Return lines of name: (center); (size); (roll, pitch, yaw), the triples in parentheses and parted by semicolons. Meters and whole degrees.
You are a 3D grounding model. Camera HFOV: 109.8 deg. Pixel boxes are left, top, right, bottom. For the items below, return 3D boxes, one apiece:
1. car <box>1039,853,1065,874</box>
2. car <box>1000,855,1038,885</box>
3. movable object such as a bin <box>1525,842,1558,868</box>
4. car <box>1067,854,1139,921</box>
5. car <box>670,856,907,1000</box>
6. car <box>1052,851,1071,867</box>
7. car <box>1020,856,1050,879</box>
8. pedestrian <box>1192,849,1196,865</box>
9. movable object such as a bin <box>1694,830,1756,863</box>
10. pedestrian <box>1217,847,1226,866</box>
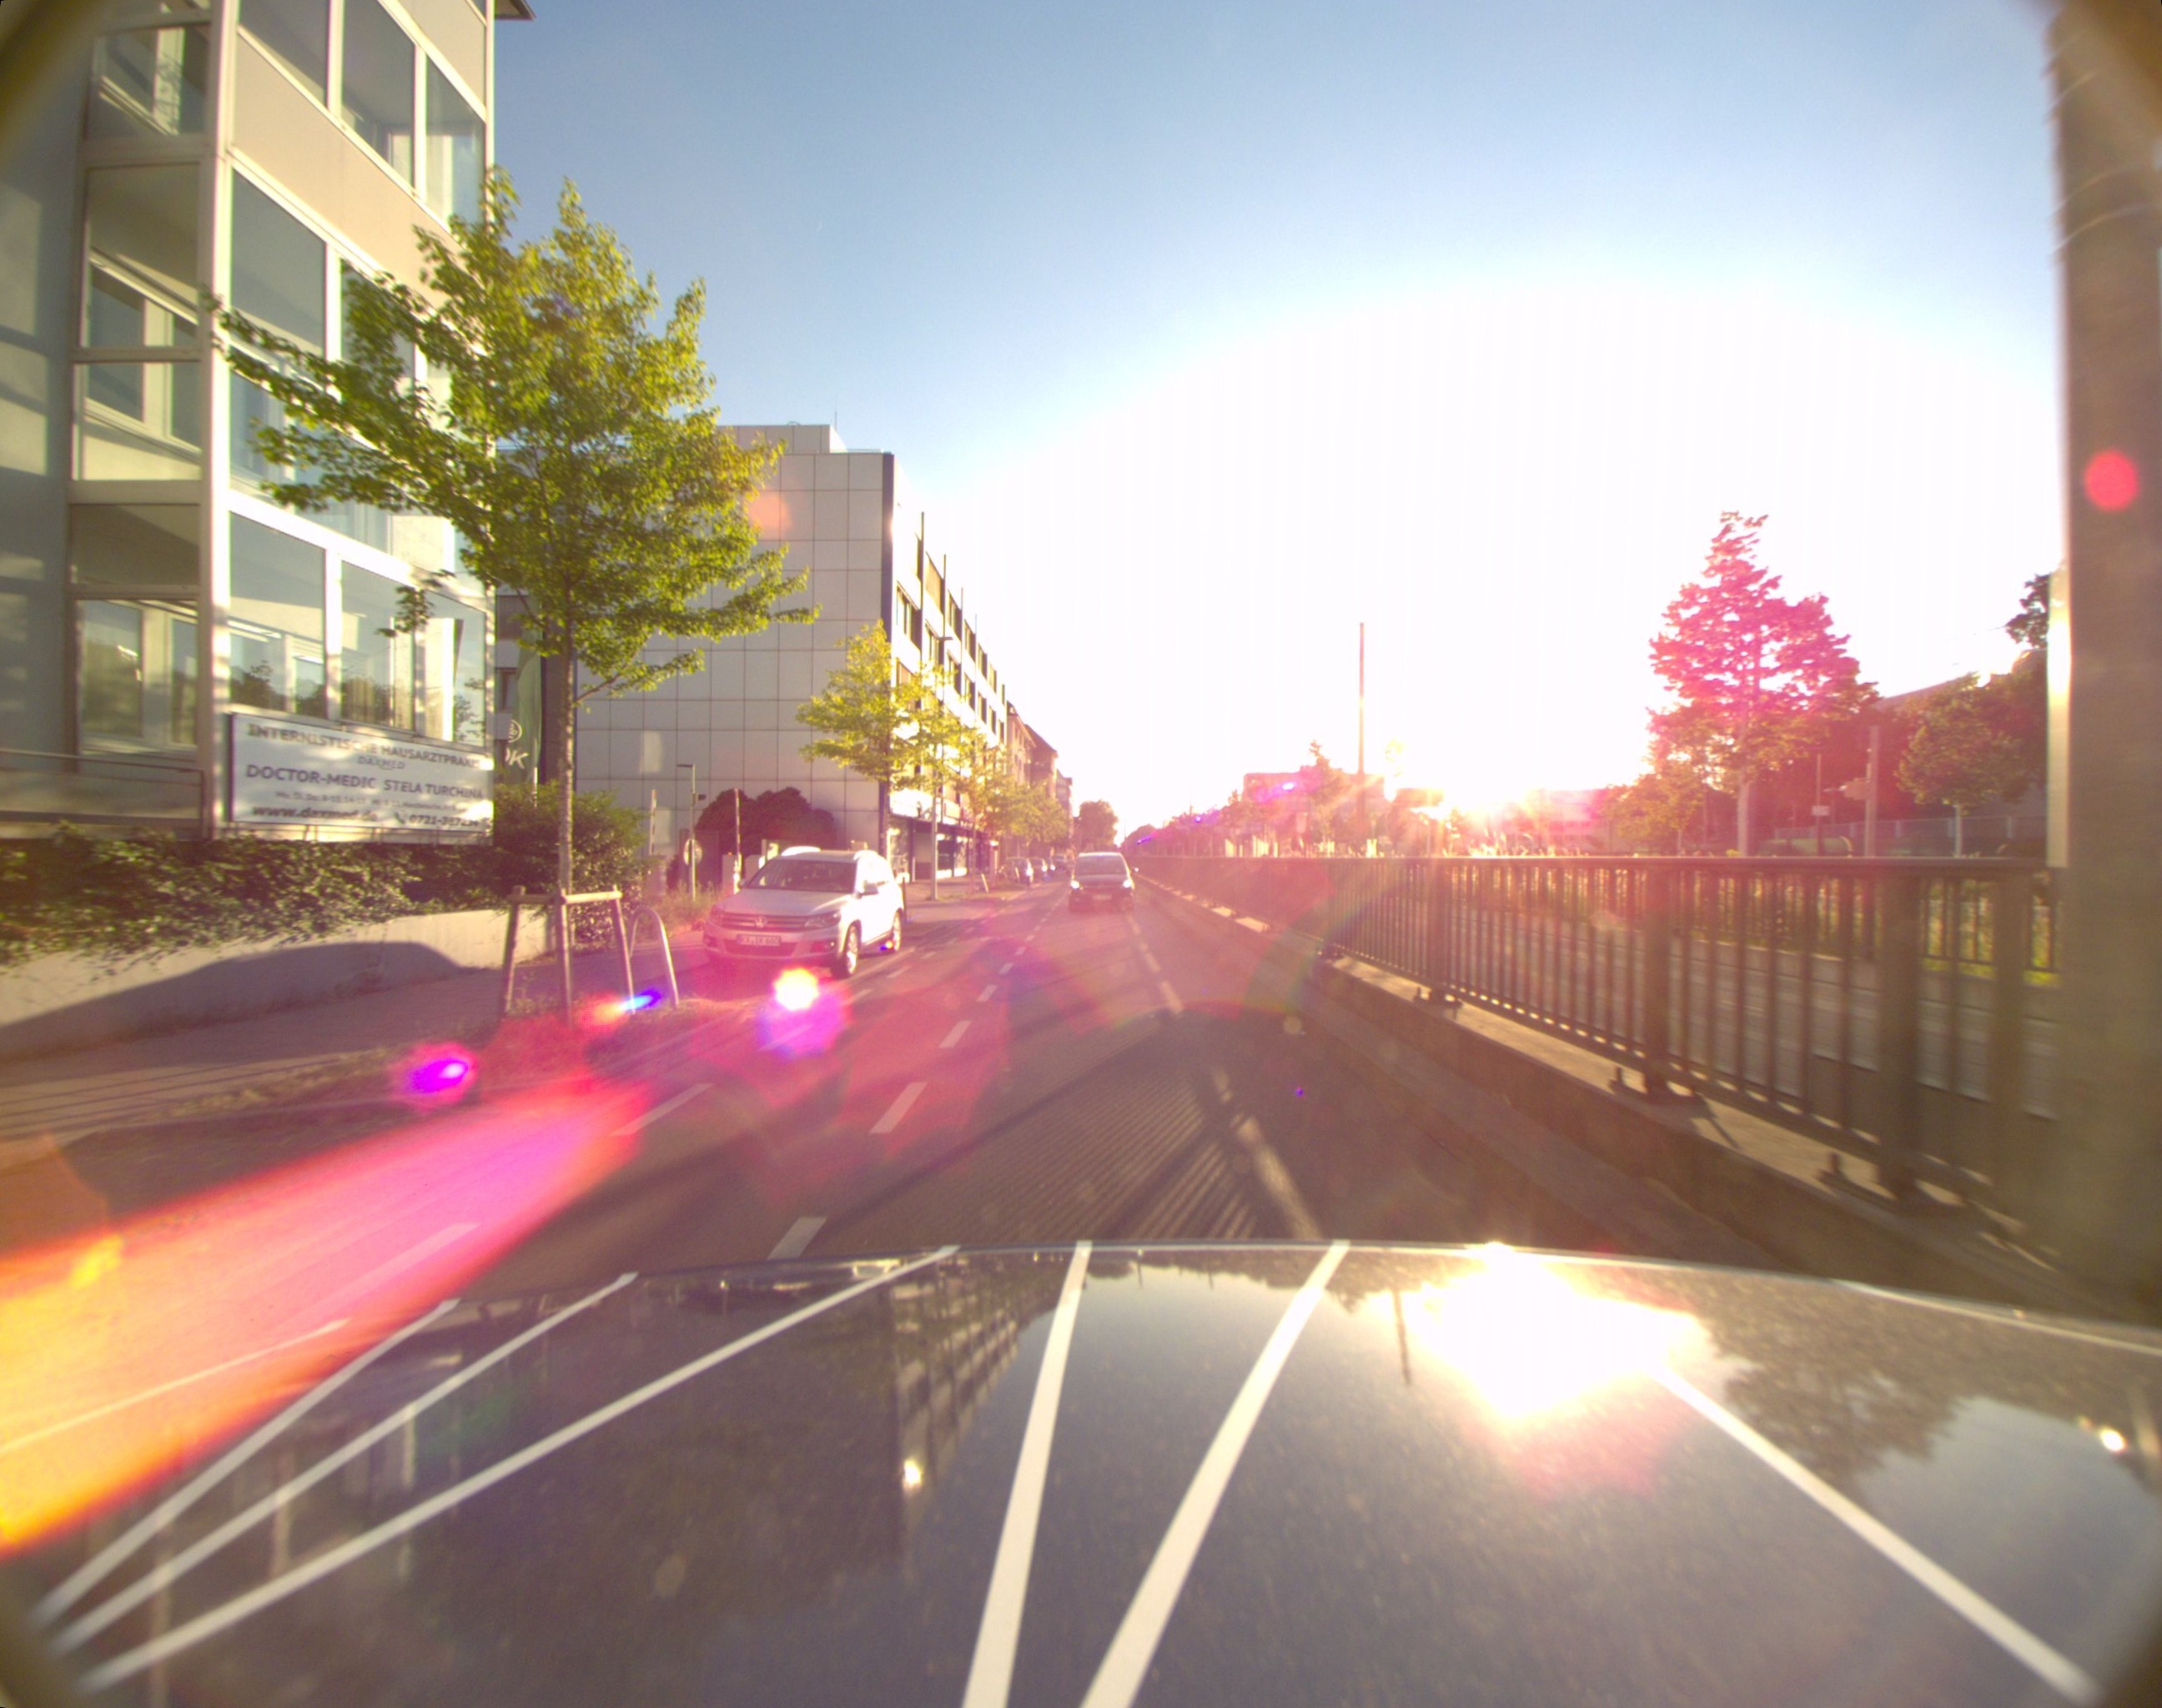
car: (-2.267, 0.717, 60.871); (1.824, 1.557, 4.809); (4, 0, -1)
car: (-3.230, 0.826, 40.374); (1.824, 1.446, 4.127); (1, 0, -3)
movable object such as a bin: (49.910, 0.100, 82.489); (1.996, 2.690, 4.004); (0, 0, 14)
car: (0.568, 0.848, 21.335); (1.800, 1.609, 4.386); (-1, 0, 0)
car: (-3.925, 0.875, 11.085); (1.859, 1.696, 4.253); (0, 0, -1)
car: (-2.120, 0.535, 83.327); (1.761, 1.644, 4.529); (2, 0, 1)
car: (-2.995, 0.856, 50.544); (1.687, 1.446, 4.129); (1, 0, 0)
pedestrian: (12.603, 0.326, 84.810); (0.472, 1.776, 0.626); (0, 1, 8)
movable object such as a bin: (54.059, -0.596, 63.904); (1.998, 2.690, 4.001); (0, 0, 3)
pedestrian: (12.806, 0.185, 69.209); (0.636, 1.719, 0.635); (0, 1, -11)
